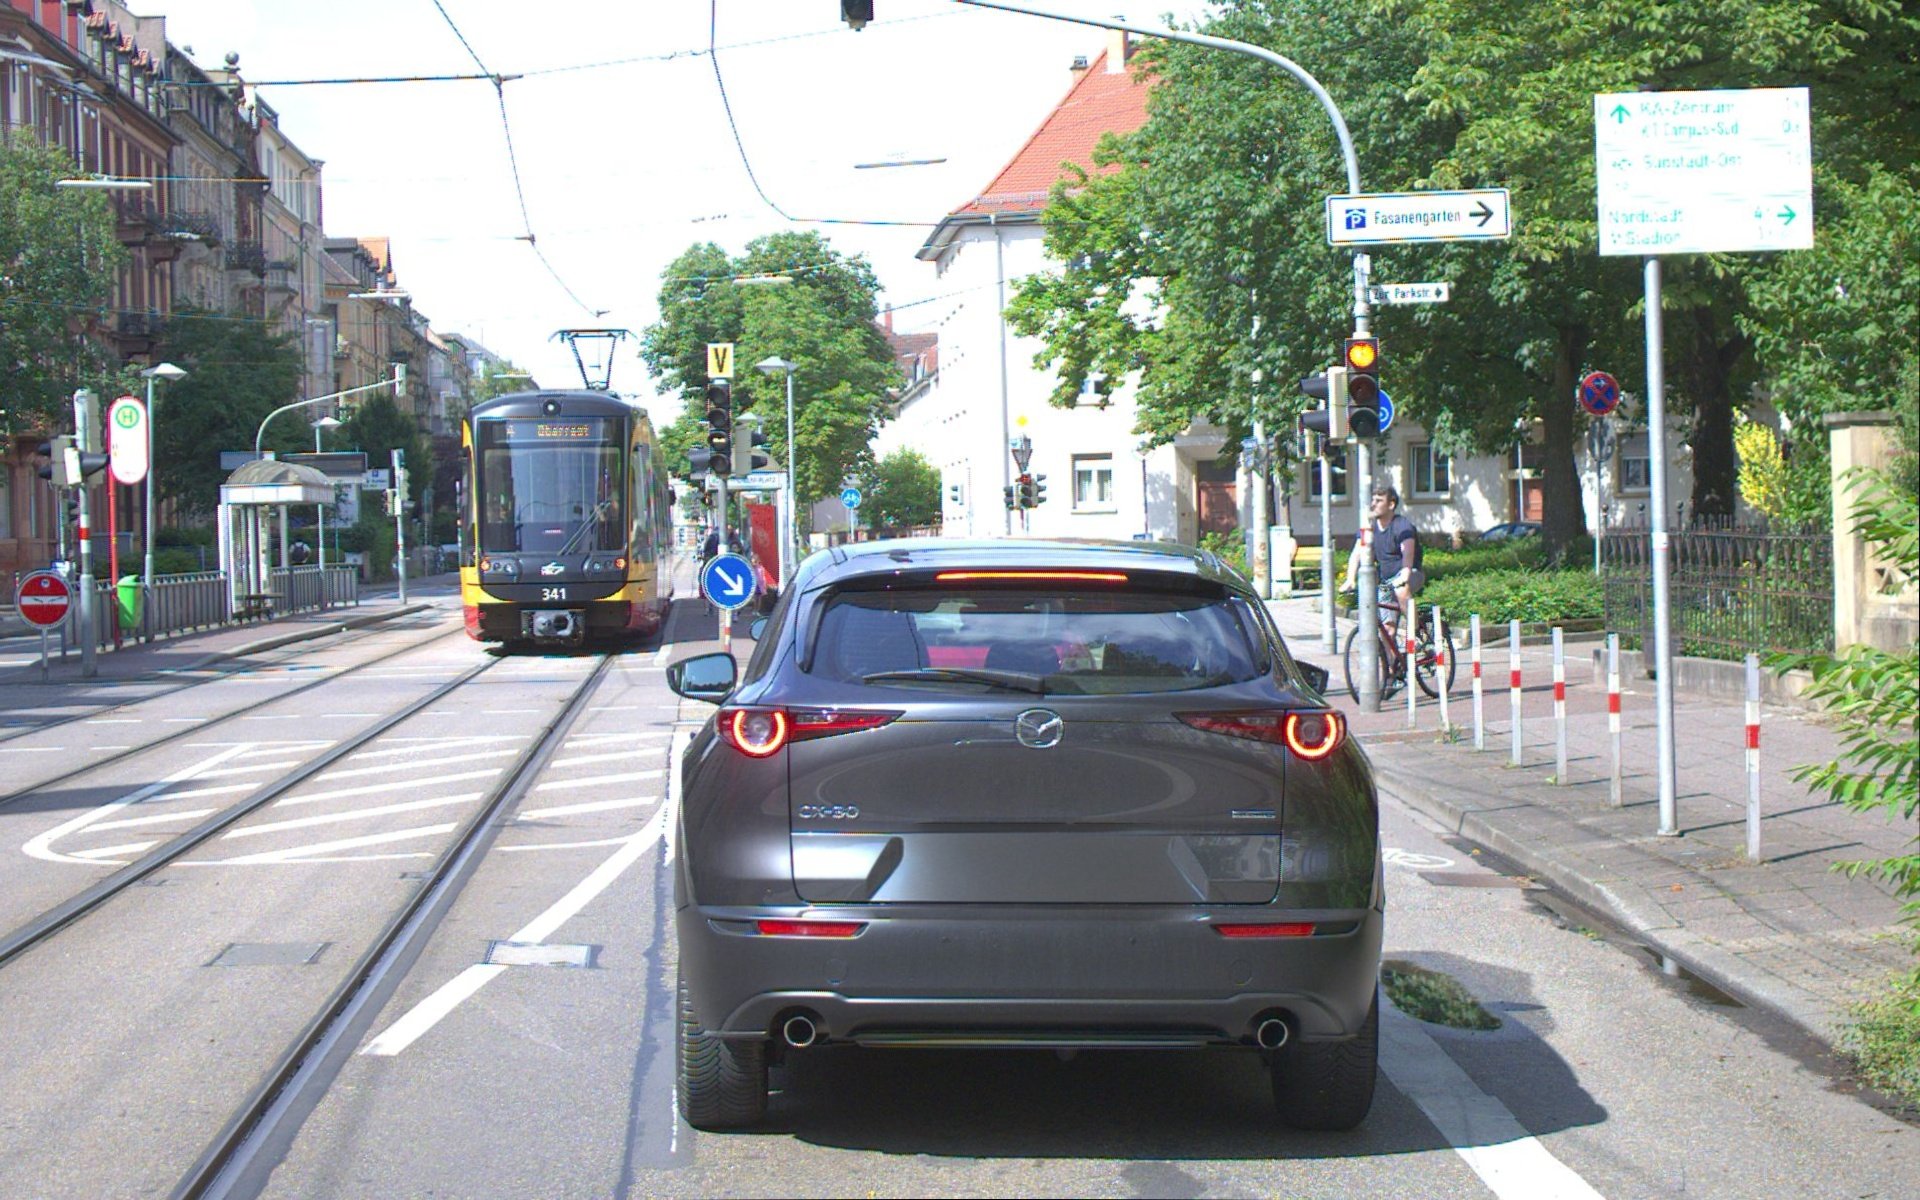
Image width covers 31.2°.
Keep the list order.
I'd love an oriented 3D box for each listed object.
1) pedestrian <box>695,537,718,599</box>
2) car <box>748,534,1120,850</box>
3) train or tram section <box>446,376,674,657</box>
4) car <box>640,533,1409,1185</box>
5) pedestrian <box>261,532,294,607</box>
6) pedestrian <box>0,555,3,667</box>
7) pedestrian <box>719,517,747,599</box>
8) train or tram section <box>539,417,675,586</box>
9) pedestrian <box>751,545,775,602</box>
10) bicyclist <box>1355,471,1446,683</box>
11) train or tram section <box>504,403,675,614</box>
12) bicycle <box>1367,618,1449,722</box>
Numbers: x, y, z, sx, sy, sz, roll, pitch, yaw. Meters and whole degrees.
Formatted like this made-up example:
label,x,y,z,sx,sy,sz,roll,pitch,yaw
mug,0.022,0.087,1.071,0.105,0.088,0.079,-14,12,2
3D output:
label,x,y,z,sx,sy,sz,roll,pitch,yaw
pedestrian,-4.424,-0.558,59.946,0.379,1.067,0.474,-1,1,-4
car,-0.163,0.409,18.650,1.778,1.494,4.000,1,1,-1
train or tram section,-5.640,-1.316,50.555,2.752,3.478,14.411,-1,2,-5
car,0.116,0.570,10.045,1.778,1.494,4.000,1,1,-1
pedestrian,-12.824,-0.569,64.577,0.429,1.394,0.398,-1,1,30
pedestrian,-12.327,-0.021,42.633,0.716,1.699,0.824,-2,1,-25
pedestrian,-3.973,-0.739,60.120,0.450,1.429,0.474,-1,1,-5
train or tram section,-7.992,-2.324,79.282,2.752,3.478,14.411,-1,2,-5
pedestrian,-3.455,-0.469,60.297,0.379,0.981,0.474,-1,1,-5
bicyclist,3.768,-0.197,29.374,0.656,1.786,0.609,-1,1,17
train or tram section,-6.818,-1.802,64.931,2.752,3.478,14.411,-1,2,-5
bicycle,3.859,0.590,29.547,0.493,0.821,1.698,-1,1,14
